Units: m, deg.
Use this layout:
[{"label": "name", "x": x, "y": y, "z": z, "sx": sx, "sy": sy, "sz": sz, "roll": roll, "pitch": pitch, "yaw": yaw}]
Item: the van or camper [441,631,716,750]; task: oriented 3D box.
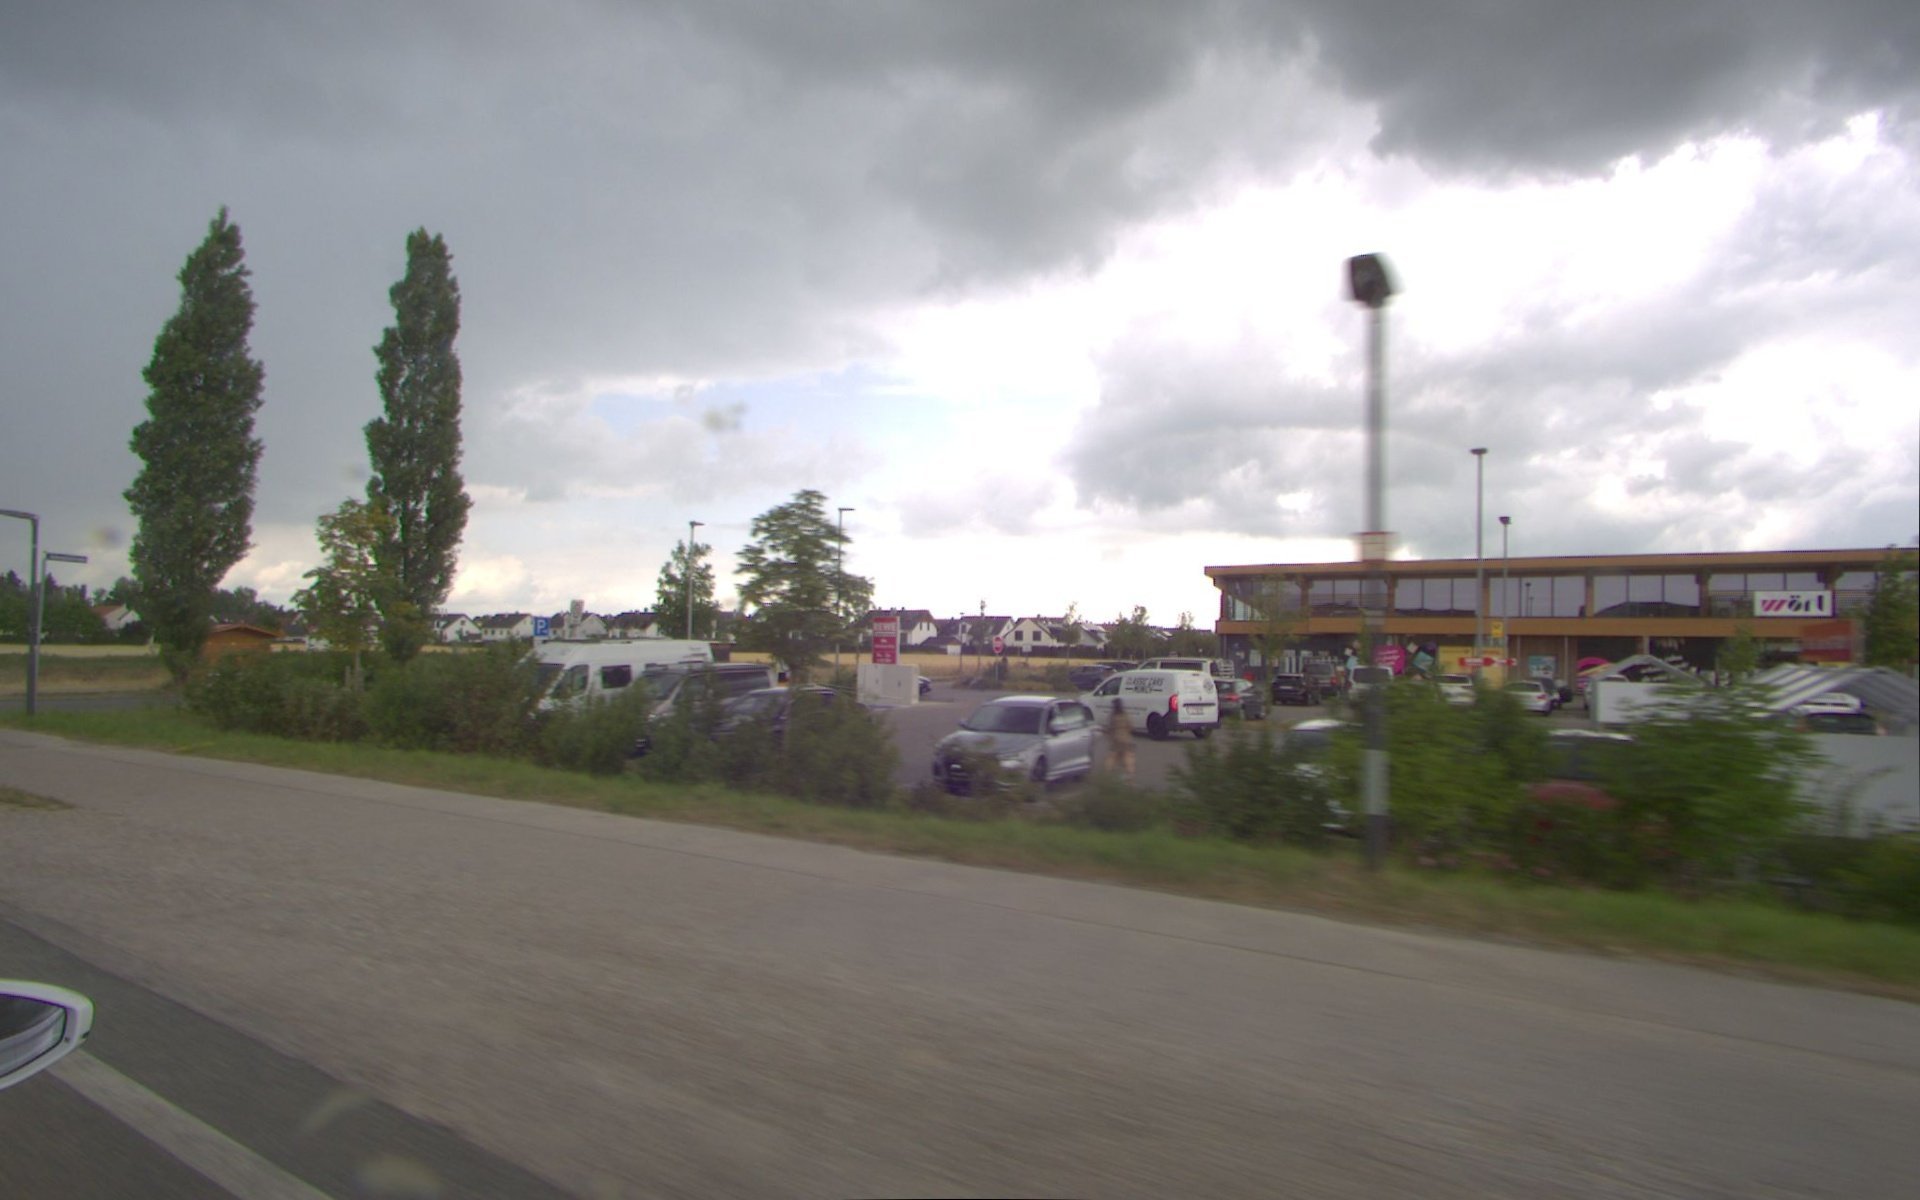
[{"label": "van or camper", "x": -9.159, "y": 2.038, "z": 24.845, "sx": 2.247, "sy": 2.496, "sz": 6.460, "roll": 0, "pitch": -1, "yaw": 29}]

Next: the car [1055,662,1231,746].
[{"label": "car", "x": 5.036, "y": 2.823, "z": 28.233, "sx": 2.082, "sy": 1.931, "sz": 4.912, "roll": 1, "pitch": -1, "yaw": -33}]

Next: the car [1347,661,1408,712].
[{"label": "car", "x": 18.229, "y": 3.702, "z": 43.626, "sx": 2.008, "sy": 1.936, "sz": 3.888, "roll": 0, "pitch": -1, "yaw": 30}]

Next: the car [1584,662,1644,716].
[{"label": "car", "x": 28.411, "y": 3.791, "z": 43.472, "sx": 1.974, "sy": 2.040, "sz": 3.974, "roll": 0, "pitch": -1, "yaw": 36}]

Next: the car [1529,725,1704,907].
[{"label": "car", "x": 8.285, "y": 2.595, "z": 12.897, "sx": 1.651, "sy": 1.558, "sz": 3.751, "roll": 0, "pitch": -1, "yaw": 30}]

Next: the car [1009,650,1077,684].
[{"label": "car", "x": 5.355, "y": 4.301, "z": 64.850, "sx": 3.943, "sy": 2.040, "sz": 1.990, "roll": 0, "pitch": -1, "yaw": 32}]

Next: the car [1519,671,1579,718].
[{"label": "car", "x": 26.340, "y": 4.168, "z": 44.717, "sx": 1.920, "sy": 1.772, "sz": 3.974, "roll": 0, "pitch": -1, "yaw": 36}]

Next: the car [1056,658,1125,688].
[{"label": "car", "x": 7.416, "y": 4.142, "z": 56.888, "sx": 3.528, "sy": 1.527, "sz": 1.742, "roll": -1, "pitch": -1, "yaw": 32}]

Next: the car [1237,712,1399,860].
[{"label": "car", "x": 5.635, "y": 2.703, "z": 15.450, "sx": 1.651, "sy": 1.558, "sz": 4.141, "roll": 0, "pitch": -1, "yaw": 30}]

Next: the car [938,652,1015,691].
[{"label": "car", "x": 0.937, "y": 4.050, "z": 57.404, "sx": 3.943, "sy": 2.040, "sz": 1.990, "roll": 0, "pitch": -1, "yaw": 32}]

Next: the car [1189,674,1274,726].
[{"label": "car", "x": 9.482, "y": 3.422, "z": 34.770, "sx": 1.874, "sy": 1.451, "sz": 4.172, "roll": 0, "pitch": -1, "yaw": 30}]

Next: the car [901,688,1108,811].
[{"label": "car", "x": 0.929, "y": 2.546, "z": 18.034, "sx": 2.049, "sy": 1.618, "sz": 4.141, "roll": 0, "pitch": -1, "yaw": 30}]

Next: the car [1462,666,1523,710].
[{"label": "car", "x": 24.598, "y": 4.012, "z": 46.196, "sx": 1.920, "sy": 1.772, "sz": 3.974, "roll": 0, "pitch": -1, "yaw": 36}]

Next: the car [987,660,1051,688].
[{"label": "car", "x": 3.576, "y": 4.503, "z": 61.138, "sx": 3.528, "sy": 1.527, "sz": 1.742, "roll": -1, "pitch": -1, "yaw": 32}]

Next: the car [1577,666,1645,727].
[{"label": "car", "x": 25.066, "y": 3.641, "z": 38.483, "sx": 1.974, "sy": 2.040, "sz": 3.974, "roll": 0, "pitch": -1, "yaw": 36}]

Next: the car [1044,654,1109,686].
[{"label": "car", "x": 7.977, "y": 4.770, "z": 68.692, "sx": 3.943, "sy": 2.040, "sz": 1.990, "roll": 0, "pitch": -1, "yaw": 32}]

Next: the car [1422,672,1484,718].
[{"label": "car", "x": 20.818, "y": 3.970, "z": 42.236, "sx": 2.010, "sy": 1.628, "sz": 3.731, "roll": 0, "pitch": -1, "yaw": 32}]

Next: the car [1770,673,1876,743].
[{"label": "car", "x": 30.652, "y": 3.750, "z": 35.728, "sx": 1.971, "sy": 2.040, "sz": 5.122, "roll": 0, "pitch": -1, "yaw": 31}]

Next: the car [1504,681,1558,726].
[{"label": "car", "x": 23.253, "y": 4.142, "z": 40.713, "sx": 1.768, "sy": 1.496, "sz": 3.731, "roll": 0, "pitch": -1, "yaw": 32}]

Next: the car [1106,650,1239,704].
[{"label": "car", "x": 8.943, "y": 3.199, "z": 42.320, "sx": 5.165, "sy": 2.040, "sz": 1.988, "roll": -1, "pitch": -1, "yaw": 36}]

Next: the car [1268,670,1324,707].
[{"label": "car", "x": 15.064, "y": 3.939, "z": 44.789, "sx": 1.748, "sy": 1.400, "sz": 3.457, "roll": 0, "pitch": -1, "yaw": 30}]

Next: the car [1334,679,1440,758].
[{"label": "car", "x": 11.286, "y": 3.027, "z": 26.313, "sx": 1.971, "sy": 1.639, "sz": 3.980, "roll": 0, "pitch": -1, "yaw": 32}]

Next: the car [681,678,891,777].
[{"label": "car", "x": -3.666, "y": 2.692, "z": 22.168, "sx": 1.732, "sy": 1.618, "sz": 5.089, "roll": 0, "pitch": -1, "yaw": 30}]

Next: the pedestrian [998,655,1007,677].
[{"label": "pedestrian", "x": 3.545, "y": 5.499, "z": 83.000, "sx": 0.591, "sy": 1.784, "sz": 0.481, "roll": 0, "pitch": 0, "yaw": 32}]

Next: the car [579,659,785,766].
[{"label": "car", "x": -6.360, "y": 2.502, "z": 23.458, "sx": 1.970, "sy": 2.040, "sz": 4.588, "roll": 0, "pitch": -1, "yaw": 30}]

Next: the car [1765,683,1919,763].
[{"label": "car", "x": 19.358, "y": 2.620, "z": 22.065, "sx": 1.971, "sy": 1.460, "sz": 3.983, "roll": 0, "pitch": -3, "yaw": 31}]

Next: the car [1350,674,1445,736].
[{"label": "car", "x": 14.118, "y": 3.305, "z": 32.186, "sx": 1.974, "sy": 1.639, "sz": 3.974, "roll": 0, "pitch": -1, "yaw": 36}]

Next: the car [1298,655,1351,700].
[{"label": "car", "x": 18.657, "y": 3.899, "z": 51.173, "sx": 1.823, "sy": 2.036, "sz": 4.212, "roll": 0, "pitch": -1, "yaw": 30}]
